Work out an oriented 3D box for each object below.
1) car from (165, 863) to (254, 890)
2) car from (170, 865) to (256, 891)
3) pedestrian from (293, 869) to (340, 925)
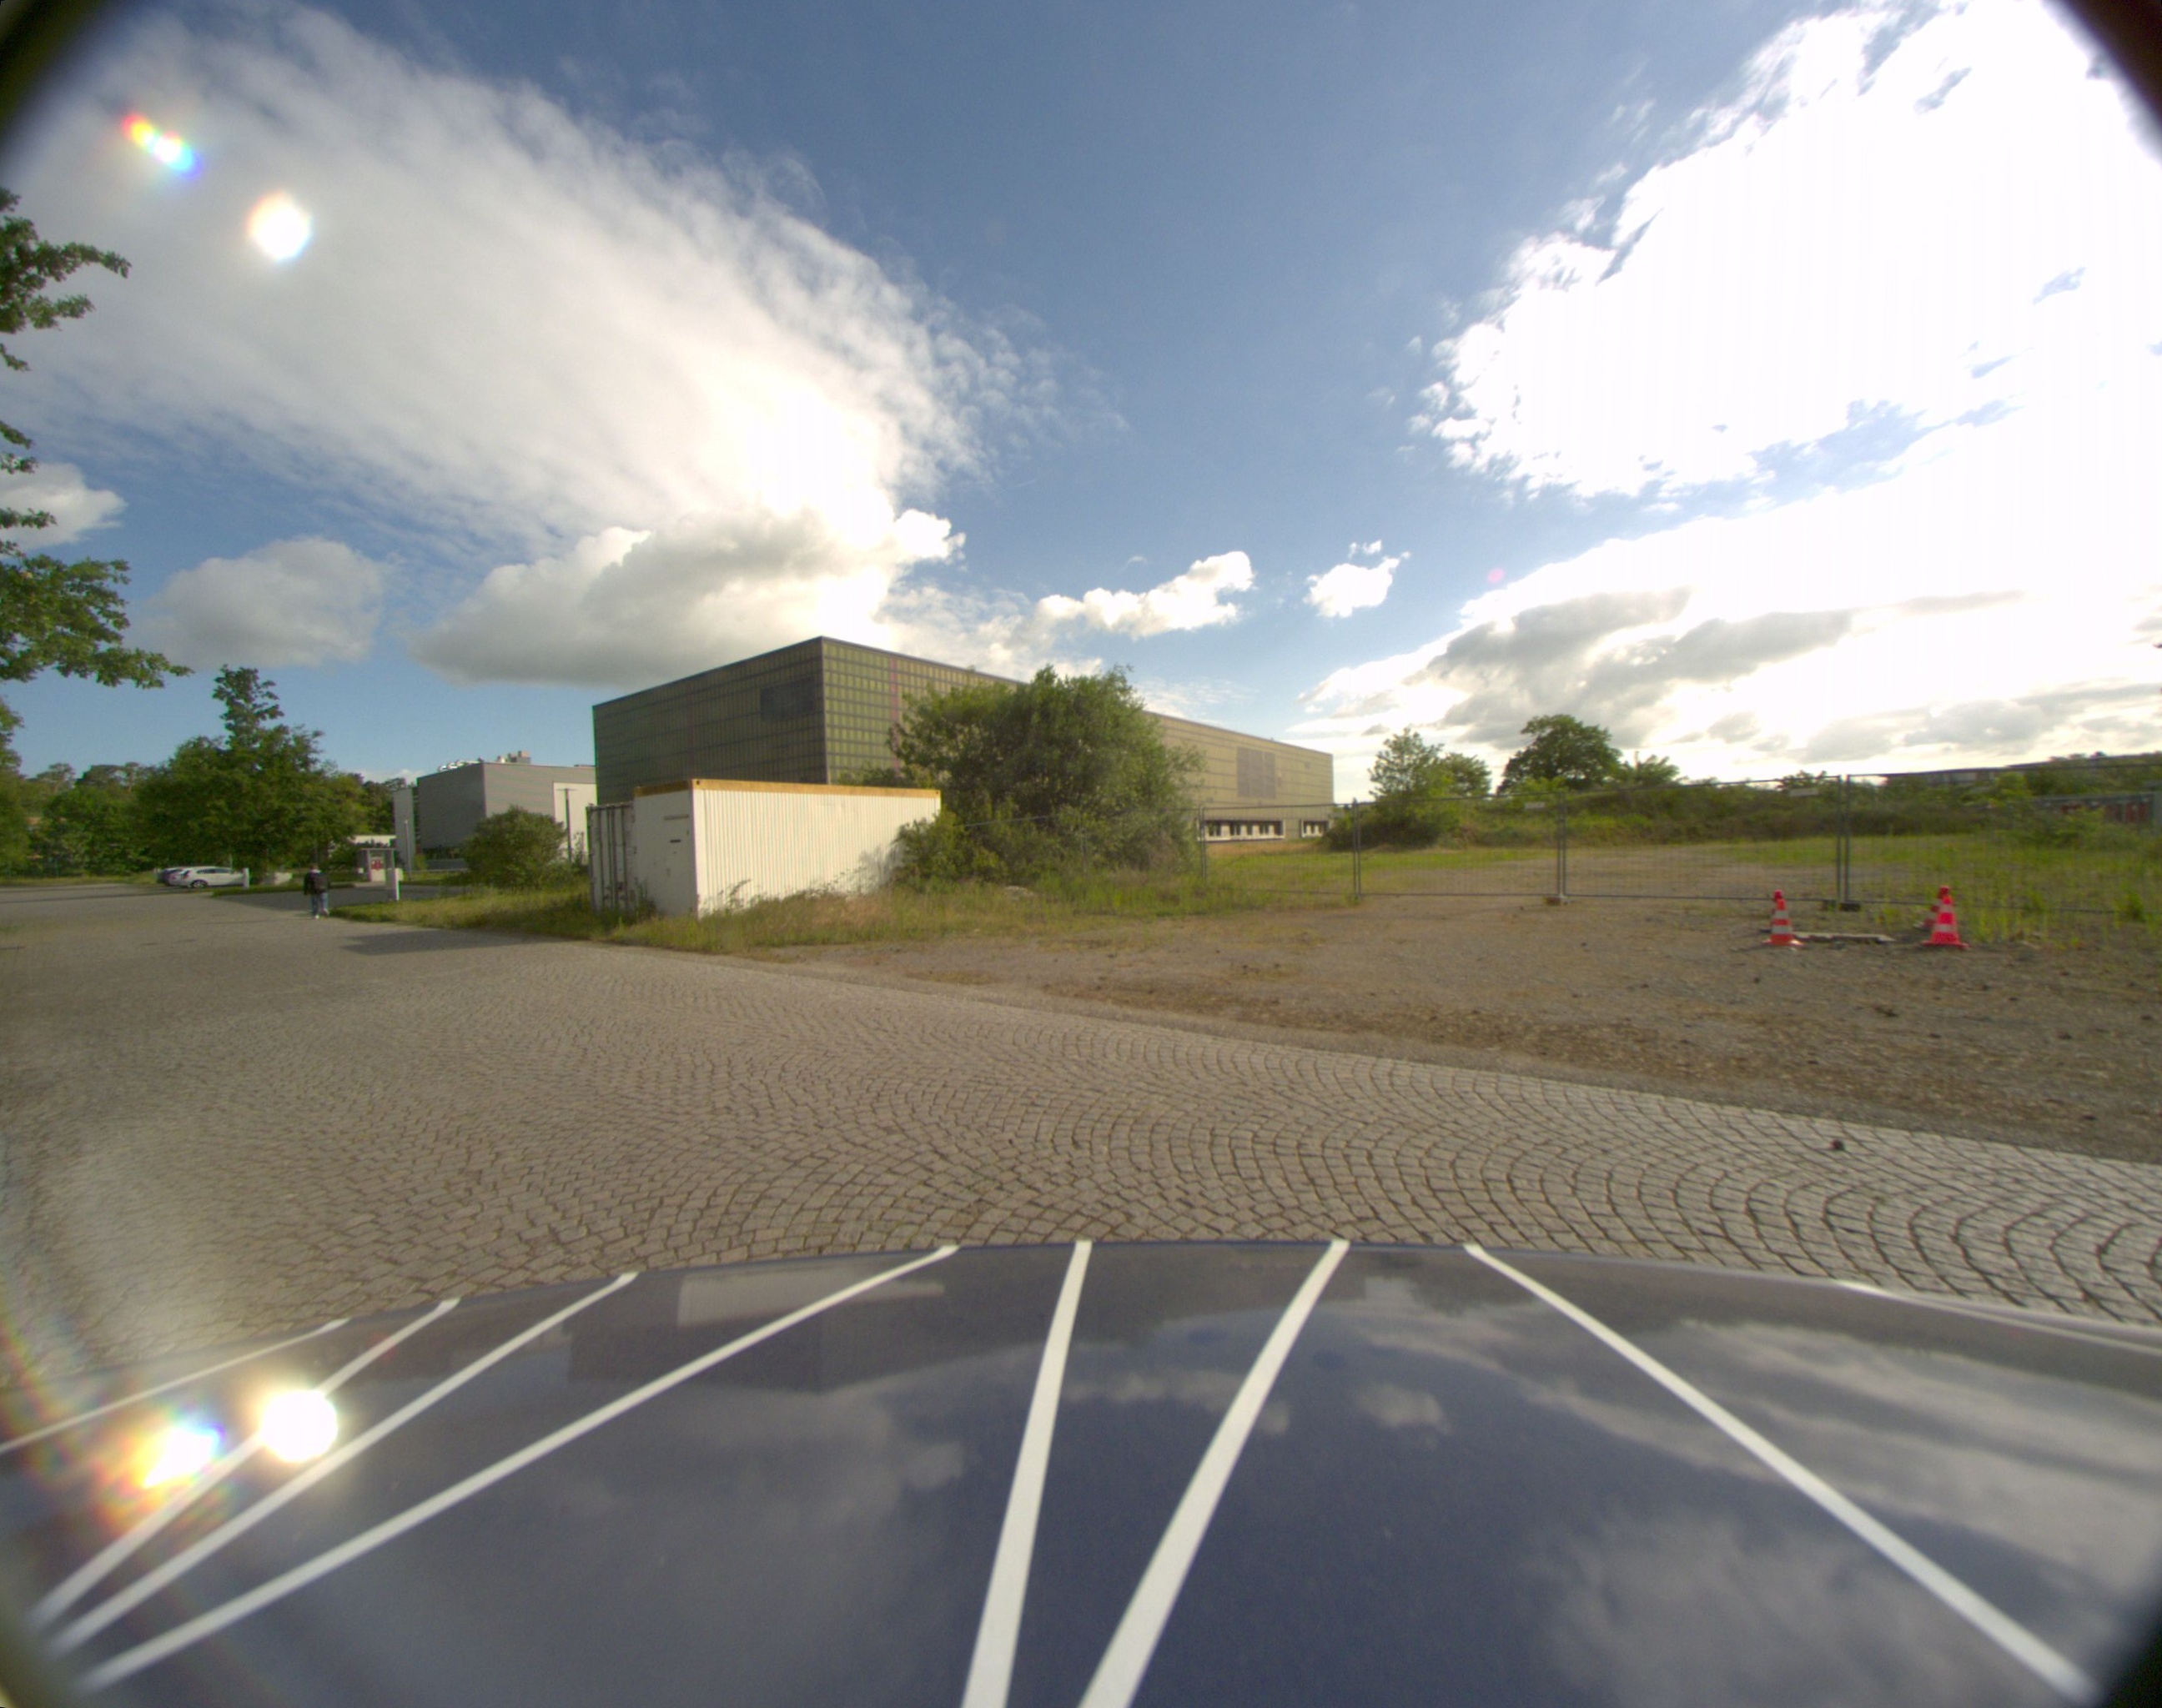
[{"bbox_3d":[-60.956,1.564,53.234,1.994,1.633,4.008,-1,2,41],"label":"car"},{"bbox_3d":[-62.834,1.727,55.092,1.994,1.633,4.008,-1,2,41],"label":"car"},{"bbox_3d":[-22.314,1.237,22.165,1.025,1.550,0.869,0,2,43],"label":"pedestrian"}]
